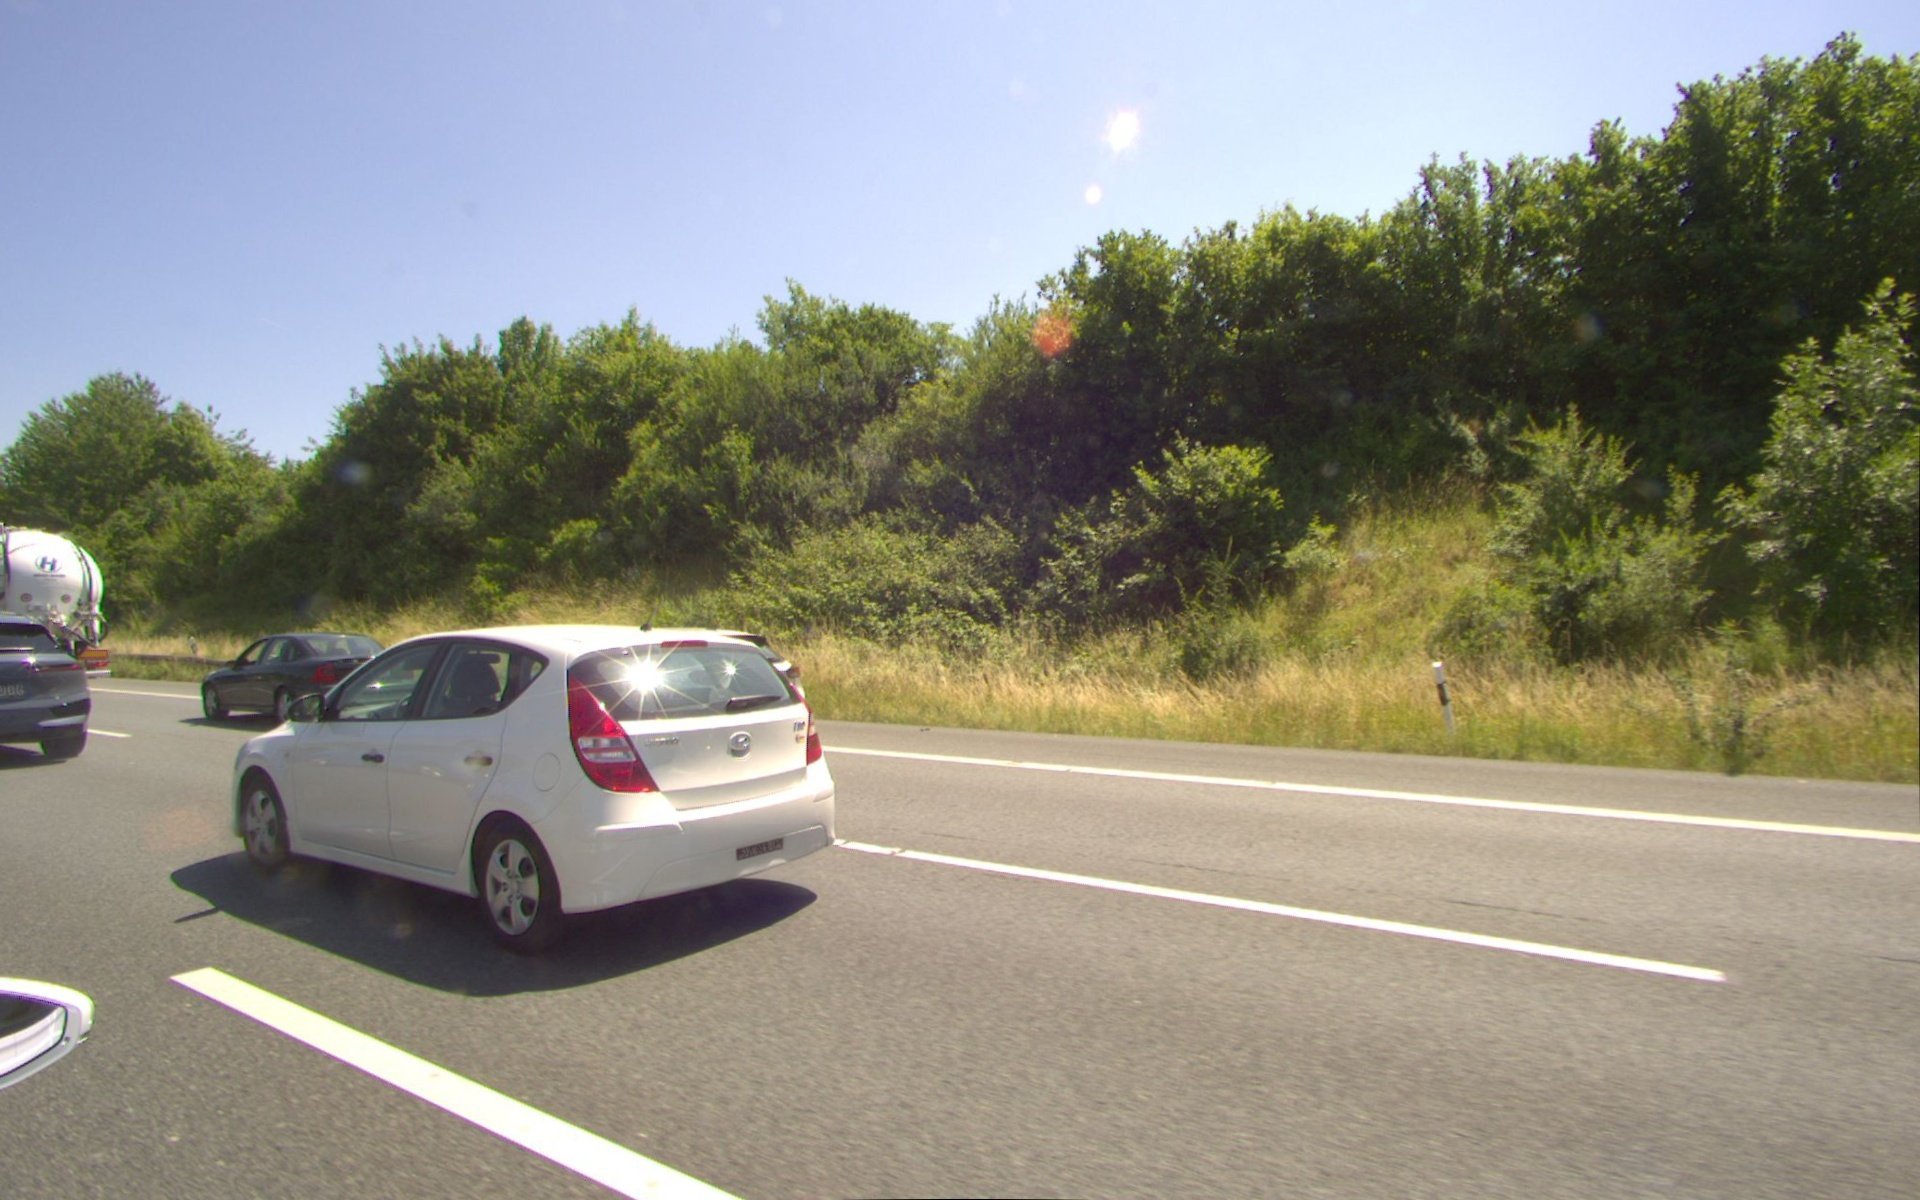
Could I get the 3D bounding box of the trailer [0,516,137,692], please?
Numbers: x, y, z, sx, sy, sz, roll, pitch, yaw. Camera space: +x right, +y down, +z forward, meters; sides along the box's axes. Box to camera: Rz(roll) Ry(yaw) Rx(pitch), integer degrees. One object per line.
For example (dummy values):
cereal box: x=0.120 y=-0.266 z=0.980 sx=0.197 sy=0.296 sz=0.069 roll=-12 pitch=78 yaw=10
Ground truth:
trailer: x=-25.375 y=0.183 z=26.077 sx=11.323 sy=3.895 sz=2.755 roll=-1 pitch=-1 yaw=33

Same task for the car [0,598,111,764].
car: x=-11.957 y=0.908 z=11.660 sx=4.562 sy=1.737 sz=1.995 roll=-2 pitch=-1 yaw=34

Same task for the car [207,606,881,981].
car: x=-2.574 y=0.840 z=5.898 sx=3.946 sy=1.504 sz=1.812 roll=-2 pitch=-1 yaw=34

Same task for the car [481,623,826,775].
car: x=-3.647 y=1.019 z=11.715 sx=3.971 sy=1.462 sz=1.727 roll=0 pitch=0 yaw=33

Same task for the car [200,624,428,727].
car: x=-10.411 y=1.146 z=16.067 sx=3.934 sy=1.435 sz=1.637 roll=-2 pitch=0 yaw=34

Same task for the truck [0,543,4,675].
truck: x=-31.310 y=0.287 z=29.898 sx=5.493 sy=3.886 sz=2.787 roll=-1 pitch=-1 yaw=33
